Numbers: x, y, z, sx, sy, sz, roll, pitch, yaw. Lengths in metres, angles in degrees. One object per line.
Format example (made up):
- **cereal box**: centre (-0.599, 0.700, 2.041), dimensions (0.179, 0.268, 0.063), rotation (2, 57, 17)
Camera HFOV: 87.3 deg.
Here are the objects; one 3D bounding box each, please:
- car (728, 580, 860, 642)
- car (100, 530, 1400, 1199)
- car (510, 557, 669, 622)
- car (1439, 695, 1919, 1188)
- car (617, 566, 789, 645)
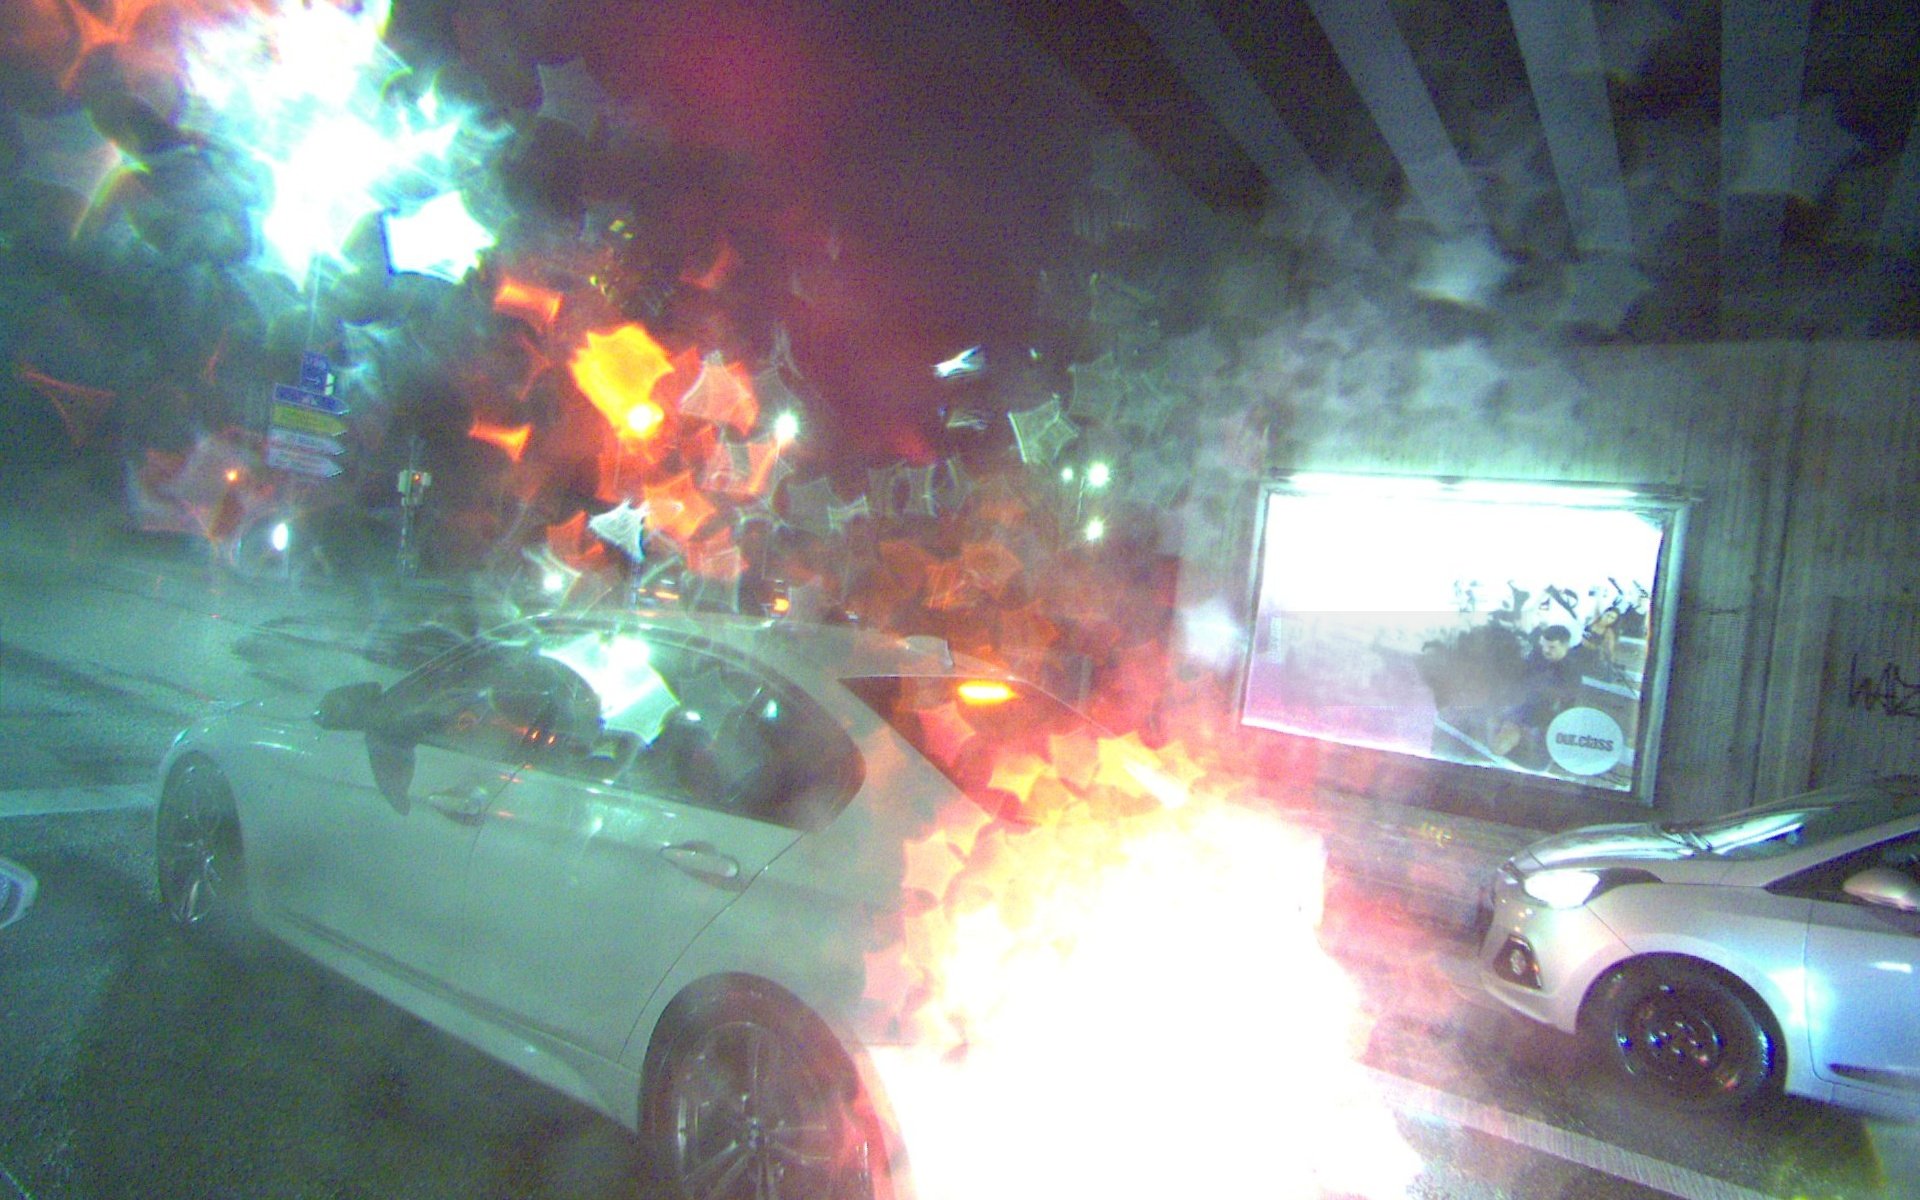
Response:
- **car**: centre (-5.800, 0.433, 35.659), dimensions (1.879, 1.637, 4.502), rotation (6, -2, 36)
- **car**: centre (-0.971, 0.709, 3.508), dimensions (4.309, 1.465, 1.722), rotation (6, 0, 31)
- **car**: centre (-12.717, -0.305, 34.817), dimensions (1.826, 1.609, 4.850), rotation (6, -2, 38)
- **car**: centre (4.283, 1.409, 3.953), dimensions (4.092, 1.465, 1.722), rotation (6, 0, 31)
- **car**: centre (-7.212, 0.192, 28.635), dimensions (1.929, 1.692, 4.405), rotation (6, -2, 36)
